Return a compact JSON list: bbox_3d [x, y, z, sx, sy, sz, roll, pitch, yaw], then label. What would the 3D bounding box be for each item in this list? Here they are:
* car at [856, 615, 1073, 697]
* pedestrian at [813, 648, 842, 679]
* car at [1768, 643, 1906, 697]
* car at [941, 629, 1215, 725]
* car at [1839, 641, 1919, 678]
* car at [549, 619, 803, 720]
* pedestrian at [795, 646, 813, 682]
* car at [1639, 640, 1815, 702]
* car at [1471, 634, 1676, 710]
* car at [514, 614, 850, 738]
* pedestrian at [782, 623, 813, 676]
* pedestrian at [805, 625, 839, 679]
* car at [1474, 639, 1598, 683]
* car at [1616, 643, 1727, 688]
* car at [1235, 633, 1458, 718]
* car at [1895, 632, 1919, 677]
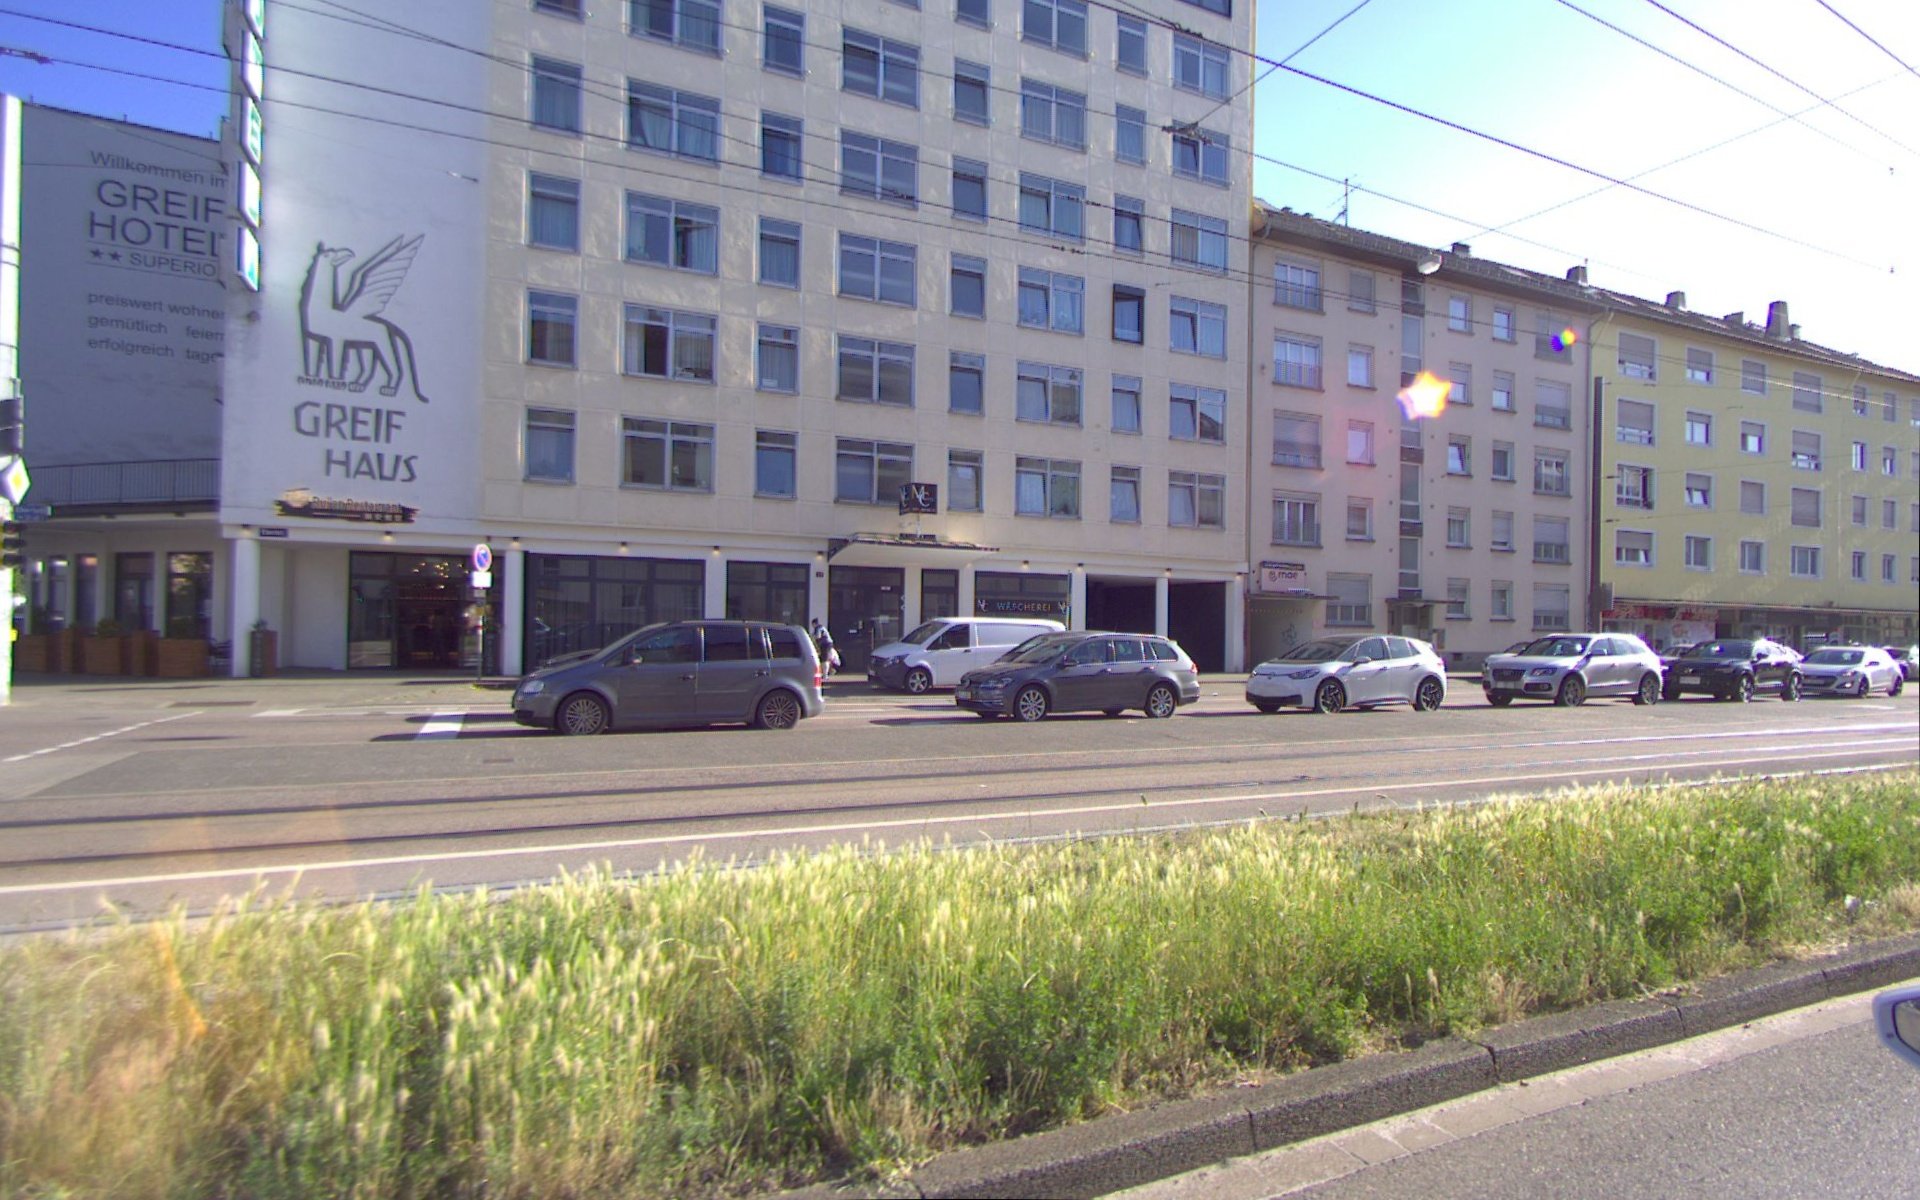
[{"bbox_3d":[0.145,1.416,25.913,5.255,1.894,1.936,2,1,-26],"label":"car"},{"bbox_3d":[-3.605,1.733,27.422,0.571,0.819,0.523,4,-3,-39],"label":"pedestrian"},{"bbox_3d":[25.947,2.059,29.700,4.234,1.465,1.814,3,-3,-30],"label":"car"},{"bbox_3d":[2.076,1.325,17.554,4.478,1.510,1.814,2,-2,-24],"label":"car"},{"bbox_3d":[42.230,2.729,45.802,3.861,1.507,1.761,4,-3,-23],"label":"car"},{"bbox_3d":[-4.963,1.209,17.609,3.994,1.596,1.783,2,-3,-27],"label":"car"},{"bbox_3d":[-4.172,1.708,26.869,0.304,0.928,0.323,0,-3,39],"label":"pedestrian"},{"bbox_3d":[20.169,1.861,26.404,4.511,1.500,1.956,3,-3,-27],"label":"car"},{"bbox_3d":[14.058,1.601,23.002,4.570,1.597,1.859,1,-3,-27],"label":"car"},{"bbox_3d":[-3.993,1.079,14.498,4.391,1.568,1.926,2,-2,-24],"label":"car"},{"bbox_3d":[-4.392,1.340,27.176,0.597,1.394,0.495,4,-3,-40],"label":"pedestrian"},{"bbox_3d":[-3.632,1.372,26.456,0.676,1.394,0.526,0,-3,43],"label":"pedestrian"},{"bbox_3d":[20.095,2.119,35.053,4.000,1.454,1.772,2,-2,-24],"label":"car"},{"bbox_3d":[27.136,2.456,38.331,3.749,1.602,1.827,1,-2,-24],"label":"car"},{"bbox_3d":[7.692,1.482,19.957,4.189,1.535,1.832,3,-3,-27],"label":"car"},{"bbox_3d":[47.750,2.653,48.582,5.237,2.133,1.997,2,-2,-27],"label":"car"}]
